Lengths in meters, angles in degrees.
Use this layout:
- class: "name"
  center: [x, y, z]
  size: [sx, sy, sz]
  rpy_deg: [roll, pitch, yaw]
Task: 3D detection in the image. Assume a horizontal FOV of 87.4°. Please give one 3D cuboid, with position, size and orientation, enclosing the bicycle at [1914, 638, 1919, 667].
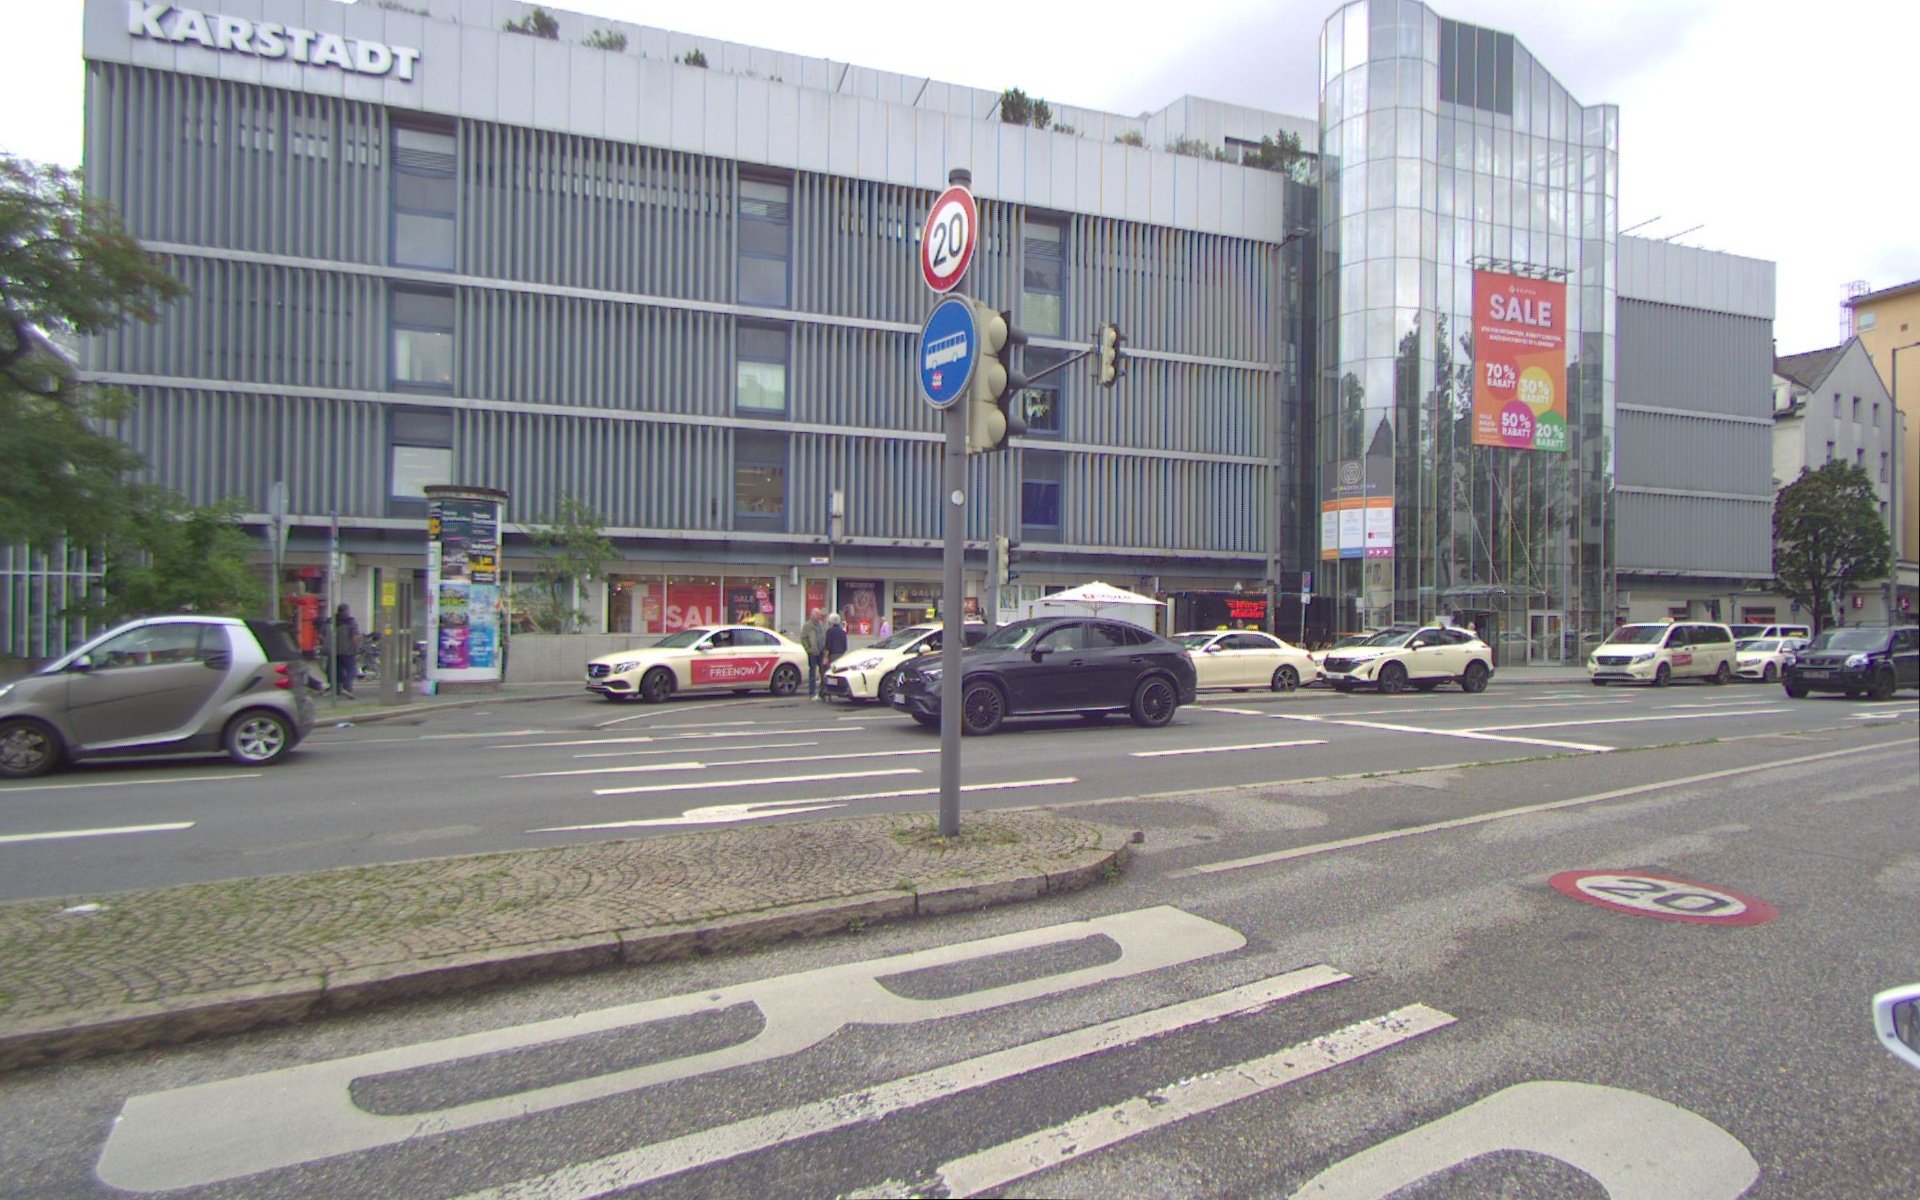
- class: "bicycle"
  center: [40.497, 2.206, 42.011]
  size: [1.135, 1.217, 0.368]
  rpy_deg: [1, -1, -17]

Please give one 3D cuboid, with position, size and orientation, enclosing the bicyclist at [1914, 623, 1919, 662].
- class: "bicyclist"
  center: [40.523, 1.788, 42.058]
  size: [0.821, 1.613, 0.502]
  rpy_deg: [1, -1, -18]

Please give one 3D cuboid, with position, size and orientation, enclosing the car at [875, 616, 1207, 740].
- class: "car"
  center: [1.220, 1.062, 14.841]
  size: [4.556, 1.597, 1.987]
  rpy_deg: [1, -2, -26]

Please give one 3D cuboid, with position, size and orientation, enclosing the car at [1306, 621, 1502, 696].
- class: "car"
  center: [10.947, 1.418, 24.797]
  size: [4.316, 1.721, 1.883]
  rpy_deg: [1, -3, -20]

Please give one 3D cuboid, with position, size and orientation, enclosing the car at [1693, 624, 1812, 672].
- class: "car"
  center: [35.437, 2.112, 44.907]
  size: [5.038, 2.040, 1.990]
  rpy_deg: [1, -1, -22]

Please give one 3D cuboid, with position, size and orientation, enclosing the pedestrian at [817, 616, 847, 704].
- class: "pedestrian"
  center: [-2.501, 1.167, 19.608]
  size: [0.420, 1.677, 0.362]
  rpy_deg: [2, 0, -31]

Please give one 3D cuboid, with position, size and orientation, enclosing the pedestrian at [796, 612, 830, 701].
- class: "pedestrian"
  center: [-2.940, 1.115, 20.102]
  size: [0.420, 1.752, 0.525]
  rpy_deg: [2, 0, 21]

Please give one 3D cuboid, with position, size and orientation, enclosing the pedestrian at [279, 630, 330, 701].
- class: "pedestrian"
  center: [-12.673, 1.253, 19.439]
  size: [0.765, 1.325, 0.540]
  rpy_deg: [1, -1, -30]

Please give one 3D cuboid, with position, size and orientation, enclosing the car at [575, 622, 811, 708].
- class: "car"
  center: [-5.277, 1.223, 20.217]
  size: [1.835, 1.530, 4.271]
  rpy_deg: [-1, -2, 45]

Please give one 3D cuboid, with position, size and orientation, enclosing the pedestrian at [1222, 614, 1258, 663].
- class: "pedestrian"
  center: [9.153, 1.255, 32.848]
  size: [0.885, 1.566, 0.731]
  rpy_deg: [1, -1, -18]

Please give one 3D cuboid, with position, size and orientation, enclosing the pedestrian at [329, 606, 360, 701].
- class: "pedestrian"
  center: [-11.428, 0.986, 18.655]
  size: [0.454, 1.722, 0.428]
  rpy_deg: [2, 0, -31]

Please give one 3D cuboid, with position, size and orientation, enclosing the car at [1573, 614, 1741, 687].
- class: "car"
  center: [21.028, 1.489, 30.257]
  size: [5.255, 2.040, 1.986]
  rpy_deg: [1, -2, -28]

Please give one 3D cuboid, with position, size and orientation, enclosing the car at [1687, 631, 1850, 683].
- class: "car"
  center: [26.352, 1.824, 32.738]
  size: [5.012, 1.573, 1.974]
  rpy_deg: [1, -2, -23]

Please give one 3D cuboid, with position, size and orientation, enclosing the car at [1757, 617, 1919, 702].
- class: "car"
  center: [20.840, 1.317, 23.207]
  size: [4.536, 1.801, 1.988]
  rpy_deg: [1, -1, -25]

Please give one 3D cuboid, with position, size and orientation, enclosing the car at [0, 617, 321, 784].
- class: "car"
  center: [-8.343, 0.958, 10.494]
  size: [2.715, 1.535, 1.662]
  rpy_deg: [1, -1, -30]

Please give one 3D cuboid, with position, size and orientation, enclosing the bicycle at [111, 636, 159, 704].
- class: "bicycle"
  center: [-13.295, 1.110, 16.209]
  size: [0.415, 1.030, 1.287]
  rpy_deg: [1, -2, -32]

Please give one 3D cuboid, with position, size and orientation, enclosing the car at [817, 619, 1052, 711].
- class: "car"
  center: [-0.439, 1.217, 19.692]
  size: [4.426, 1.633, 1.579]
  rpy_deg: [1, -2, -32]

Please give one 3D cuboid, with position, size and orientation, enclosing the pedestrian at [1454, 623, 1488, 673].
- class: "pedestrian"
  center: [19.108, 1.783, 37.548]
  size: [0.805, 1.829, 0.788]
  rpy_deg: [1, -1, -19]

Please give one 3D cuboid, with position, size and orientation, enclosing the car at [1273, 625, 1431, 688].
- class: "car"
  center: [10.800, 1.538, 27.690]
  size: [3.941, 1.637, 1.769]
  rpy_deg: [1, -2, -21]

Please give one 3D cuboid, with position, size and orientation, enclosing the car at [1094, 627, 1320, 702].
- class: "car"
  center: [5.618, 1.417, 22.842]
  size: [4.776, 1.561, 1.943]
  rpy_deg: [1, -1, -22]

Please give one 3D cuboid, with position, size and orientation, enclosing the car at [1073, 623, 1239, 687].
- class: "car"
  center: [5.046, 1.375, 25.867]
  size: [3.943, 1.557, 1.748]
  rpy_deg: [1, -1, -23]
